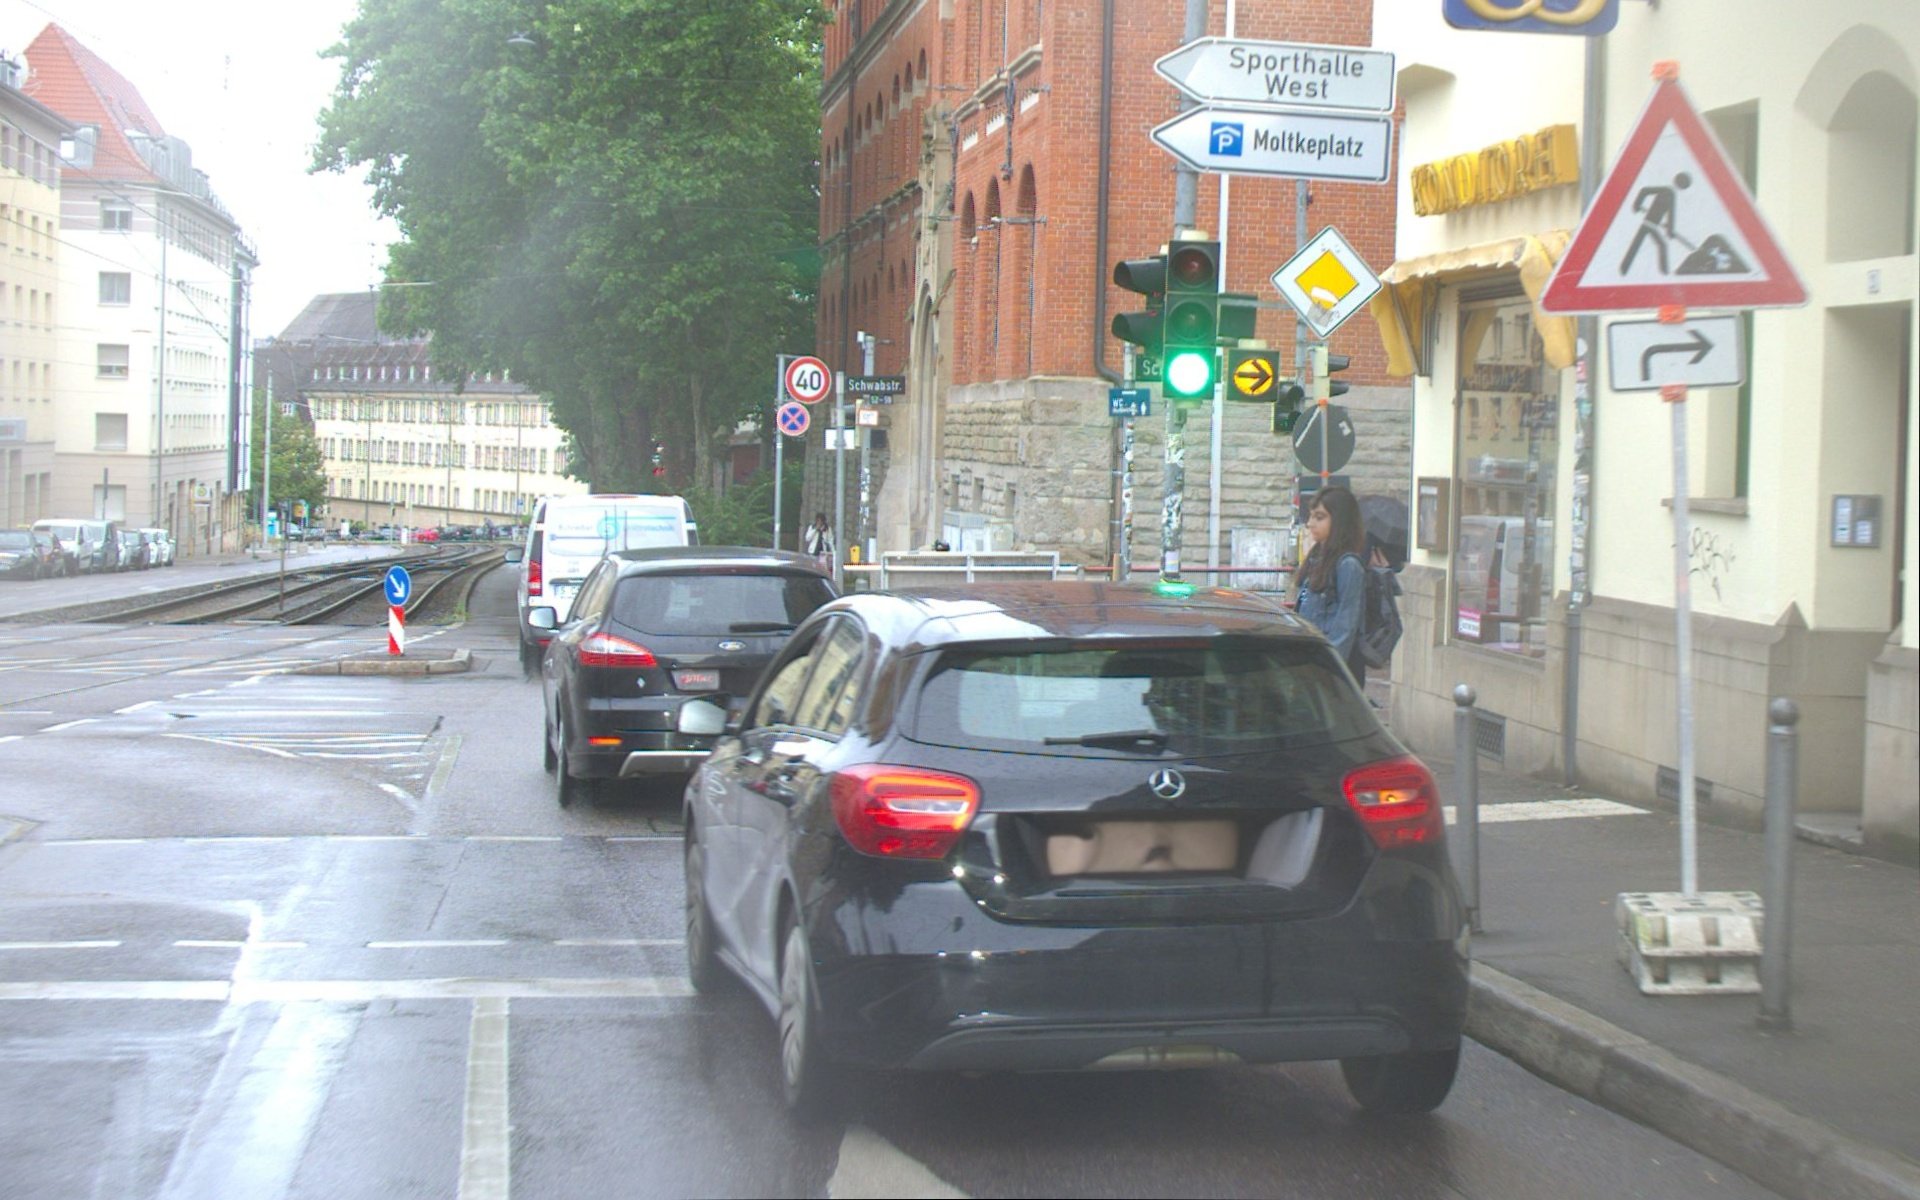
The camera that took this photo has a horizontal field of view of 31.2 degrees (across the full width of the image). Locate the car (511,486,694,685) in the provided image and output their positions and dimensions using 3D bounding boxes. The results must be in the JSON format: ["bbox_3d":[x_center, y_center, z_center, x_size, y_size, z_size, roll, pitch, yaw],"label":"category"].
[{"bbox_3d":[-3.876,-0.173,36.814,1.740,2.007,3.905,1,1,-9],"label":"car"}]

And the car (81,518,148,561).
[{"bbox_3d":[-30.904,-2.217,125.747,1.813,1.494,4.584,2,1,-7],"label":"car"}]

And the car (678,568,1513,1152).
[{"bbox_3d":[0.181,0.625,10.345,1.794,1.370,4.001,2,1,-8],"label":"car"}]

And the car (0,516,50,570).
[{"bbox_3d":[-27.256,-1.649,98.949,1.851,1.503,4.993,0,1,-12],"label":"car"}]

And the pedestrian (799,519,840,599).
[{"bbox_3d":[-2.983,-0.873,73.023,0.823,1.673,0.860,0,1,-4],"label":"pedestrian"}]

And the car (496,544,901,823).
[{"bbox_3d":[-1.665,0.417,20.367,1.933,1.448,4.319,1,1,-10],"label":"car"}]

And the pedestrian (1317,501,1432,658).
[{"bbox_3d":[4.392,-0.226,36.470,0.958,1.620,1.074,-1,1,-7],"label":"pedestrian"}]

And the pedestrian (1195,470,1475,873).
[{"bbox_3d":[1.668,0.302,15.430,1.016,1.714,0.930,-2,1,-5],"label":"pedestrian"}]

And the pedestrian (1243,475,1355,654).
[{"bbox_3d":[3.621,-0.389,36.819,0.958,1.881,1.074,-1,1,-7],"label":"pedestrian"}]

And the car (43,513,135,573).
[{"bbox_3d":[-29.456,-1.939,116.393,1.993,1.898,5.460,2,1,-4],"label":"car"}]

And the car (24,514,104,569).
[{"bbox_3d":[-28.688,-1.874,110.220,1.867,1.711,4.461,0,1,-7],"label":"car"}]
